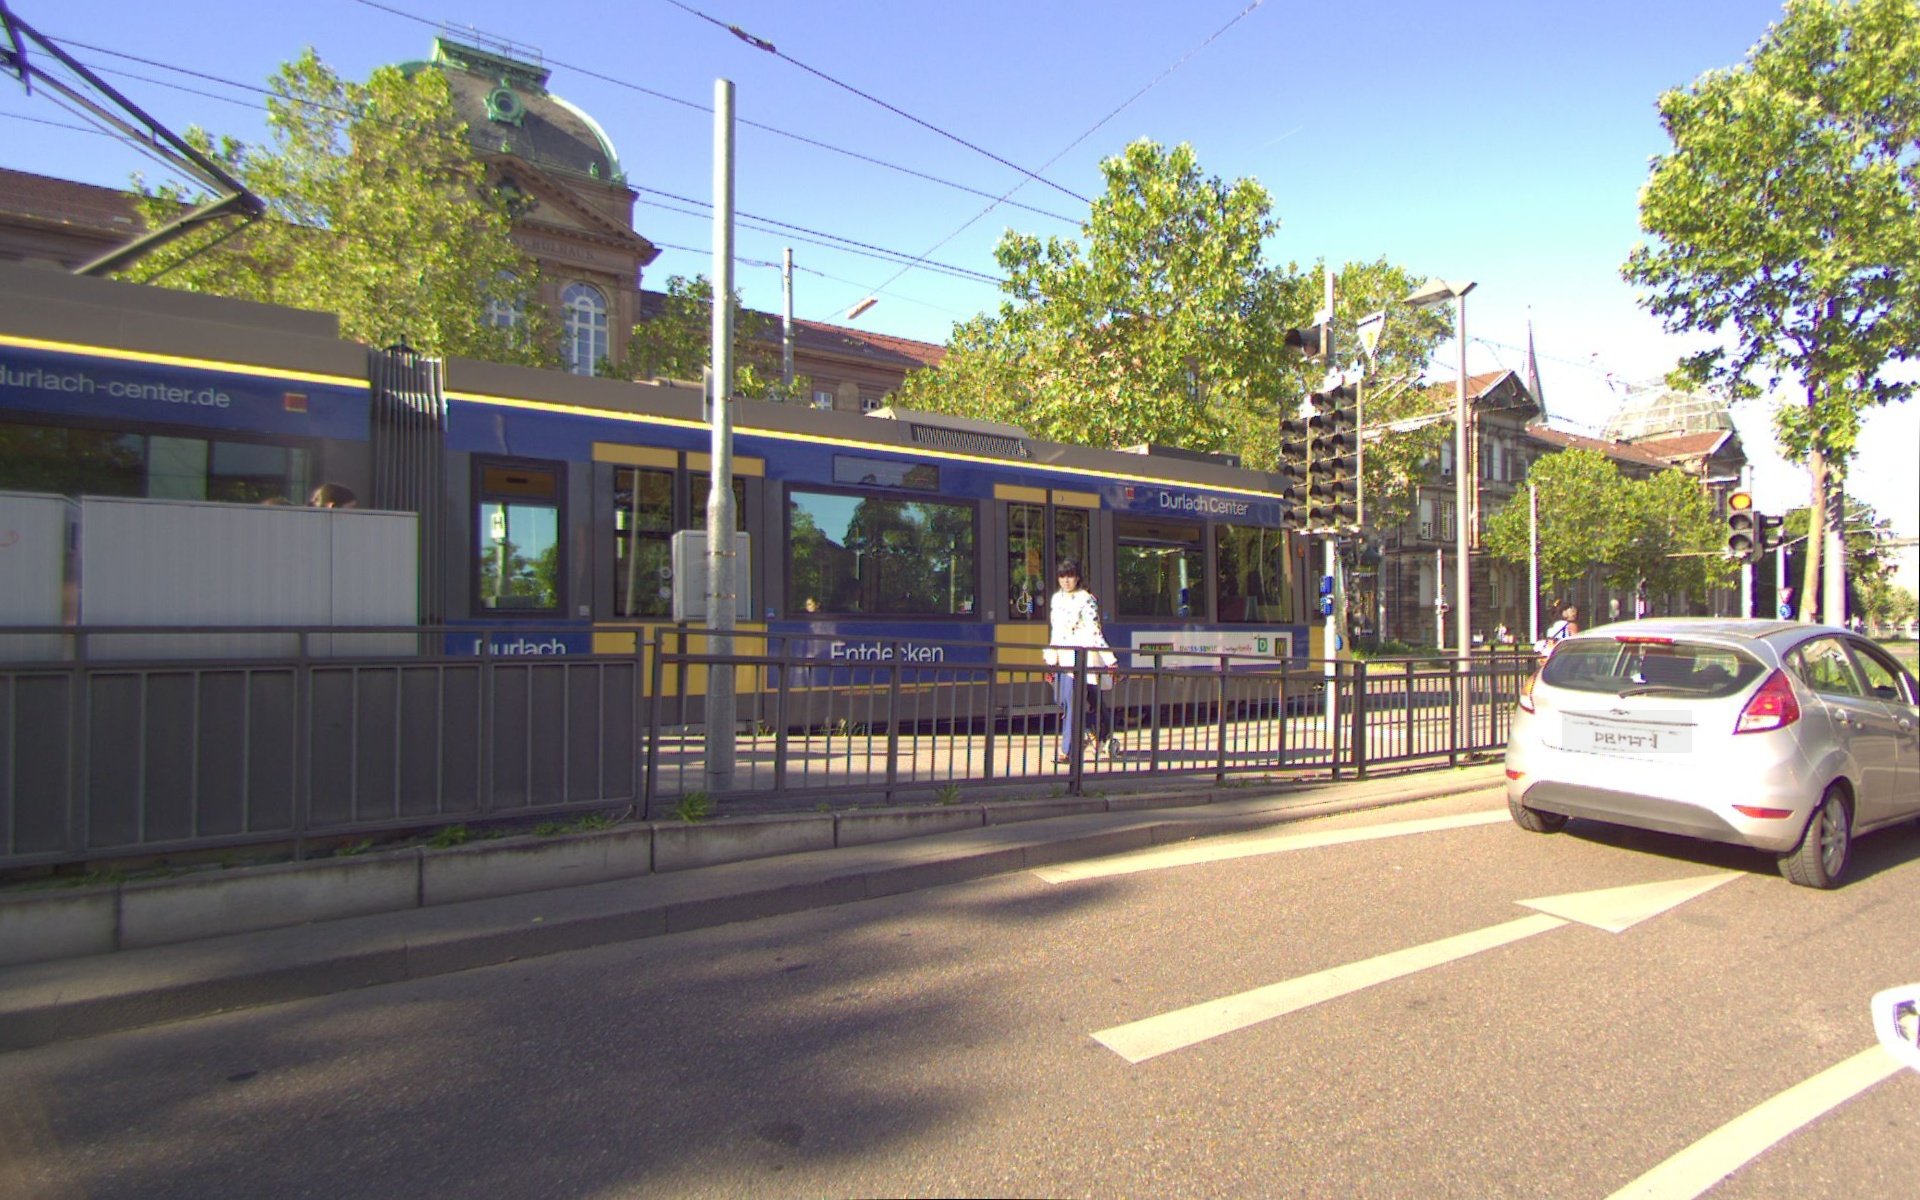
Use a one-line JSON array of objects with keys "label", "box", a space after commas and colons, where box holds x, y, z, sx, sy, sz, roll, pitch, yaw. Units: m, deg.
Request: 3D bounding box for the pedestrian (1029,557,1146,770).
[{"label": "pedestrian", "box": [1.033, 0.509, 8.160, 0.635, 1.640, 0.635, 4, -3, -37]}]

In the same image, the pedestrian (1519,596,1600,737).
[{"label": "pedestrian", "box": [7.003, 0.758, 11.745, 0.641, 1.577, 0.626, 1, -1, -38]}]

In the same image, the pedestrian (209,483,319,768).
[{"label": "pedestrian", "box": [-4.502, 0.164, 6.492, 0.541, 1.724, 0.604, 1, -2, -37]}]

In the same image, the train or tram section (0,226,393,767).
[{"label": "train or tram section", "box": [-11.467, -0.860, 4.086, 15.730, 3.303, 2.896, 2, 0, -34]}]

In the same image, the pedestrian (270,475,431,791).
[{"label": "pedestrian", "box": [-3.620, 0.192, 5.965, 0.740, 1.724, 0.628, 1, -2, -38]}]

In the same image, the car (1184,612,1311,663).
[{"label": "car", "box": [9.788, 1.251, 34.143, 3.953, 1.646, 1.984, 1, -1, -30]}]

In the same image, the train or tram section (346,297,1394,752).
[{"label": "train or tram section", "box": [0.241, -0.341, 12.241, 12.984, 3.303, 2.895, 2, 0, -35]}]

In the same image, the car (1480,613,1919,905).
[{"label": "car", "box": [5.272, 0.844, 6.677, 3.592, 1.428, 1.651, 2, 0, -33]}]
